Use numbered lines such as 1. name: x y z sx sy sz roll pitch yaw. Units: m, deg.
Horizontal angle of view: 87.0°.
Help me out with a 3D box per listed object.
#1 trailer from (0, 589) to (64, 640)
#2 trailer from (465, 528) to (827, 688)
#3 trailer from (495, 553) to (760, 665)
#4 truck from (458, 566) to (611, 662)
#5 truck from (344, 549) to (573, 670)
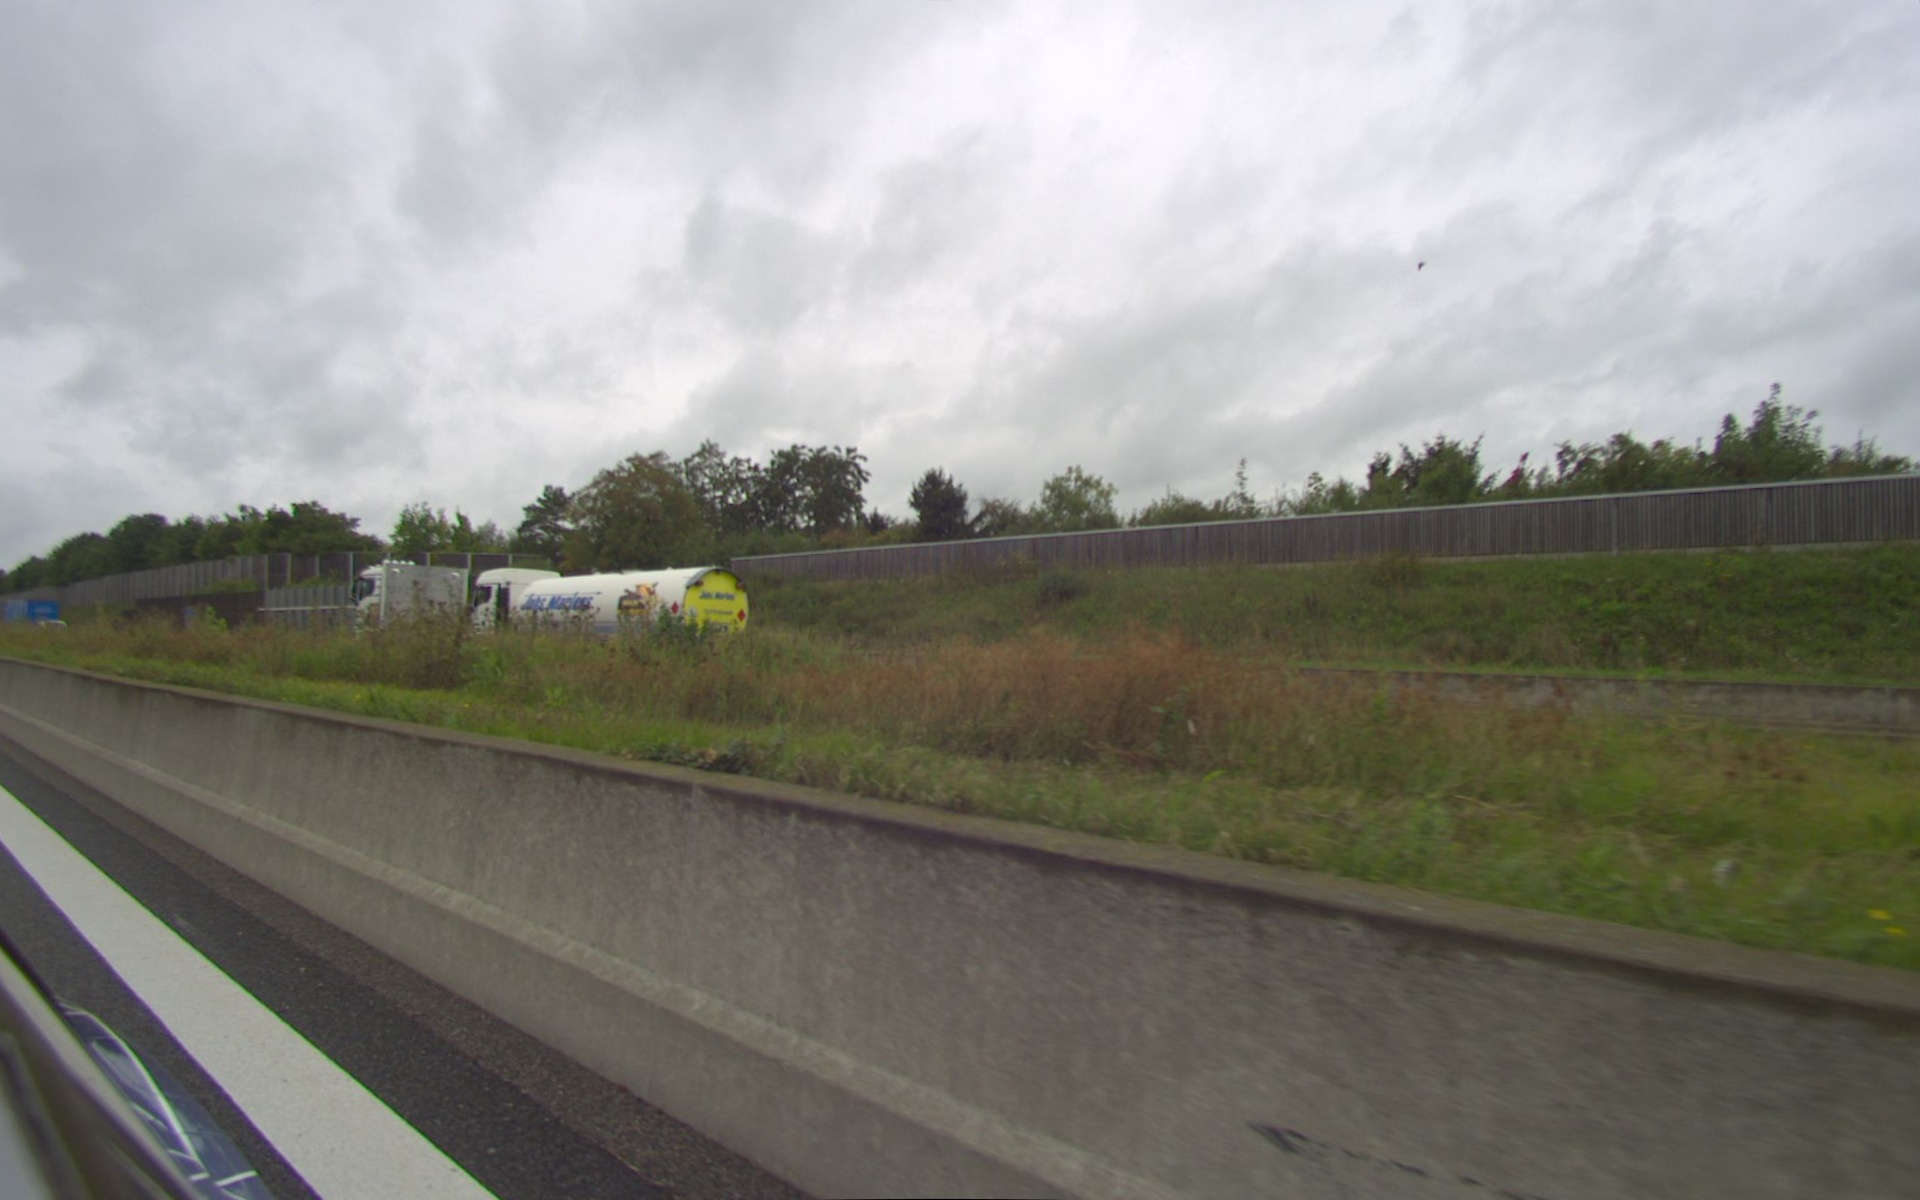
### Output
1. trailer: -95.839 1.513 104.153 13.512 4.922 3.185 -1 0 39
2. trailer: -7.709 0.210 23.466 10.563 2.981 2.925 -1 0 41
3. trailer: -10.728 0.334 31.667 10.788 3.012 2.585 -1 -1 40
4. truck: -14.795 0.472 35.014 5.608 3.042 2.595 -1 0 40
5. truck: -15.016 0.278 29.893 8.723 3.090 2.925 -1 0 41
